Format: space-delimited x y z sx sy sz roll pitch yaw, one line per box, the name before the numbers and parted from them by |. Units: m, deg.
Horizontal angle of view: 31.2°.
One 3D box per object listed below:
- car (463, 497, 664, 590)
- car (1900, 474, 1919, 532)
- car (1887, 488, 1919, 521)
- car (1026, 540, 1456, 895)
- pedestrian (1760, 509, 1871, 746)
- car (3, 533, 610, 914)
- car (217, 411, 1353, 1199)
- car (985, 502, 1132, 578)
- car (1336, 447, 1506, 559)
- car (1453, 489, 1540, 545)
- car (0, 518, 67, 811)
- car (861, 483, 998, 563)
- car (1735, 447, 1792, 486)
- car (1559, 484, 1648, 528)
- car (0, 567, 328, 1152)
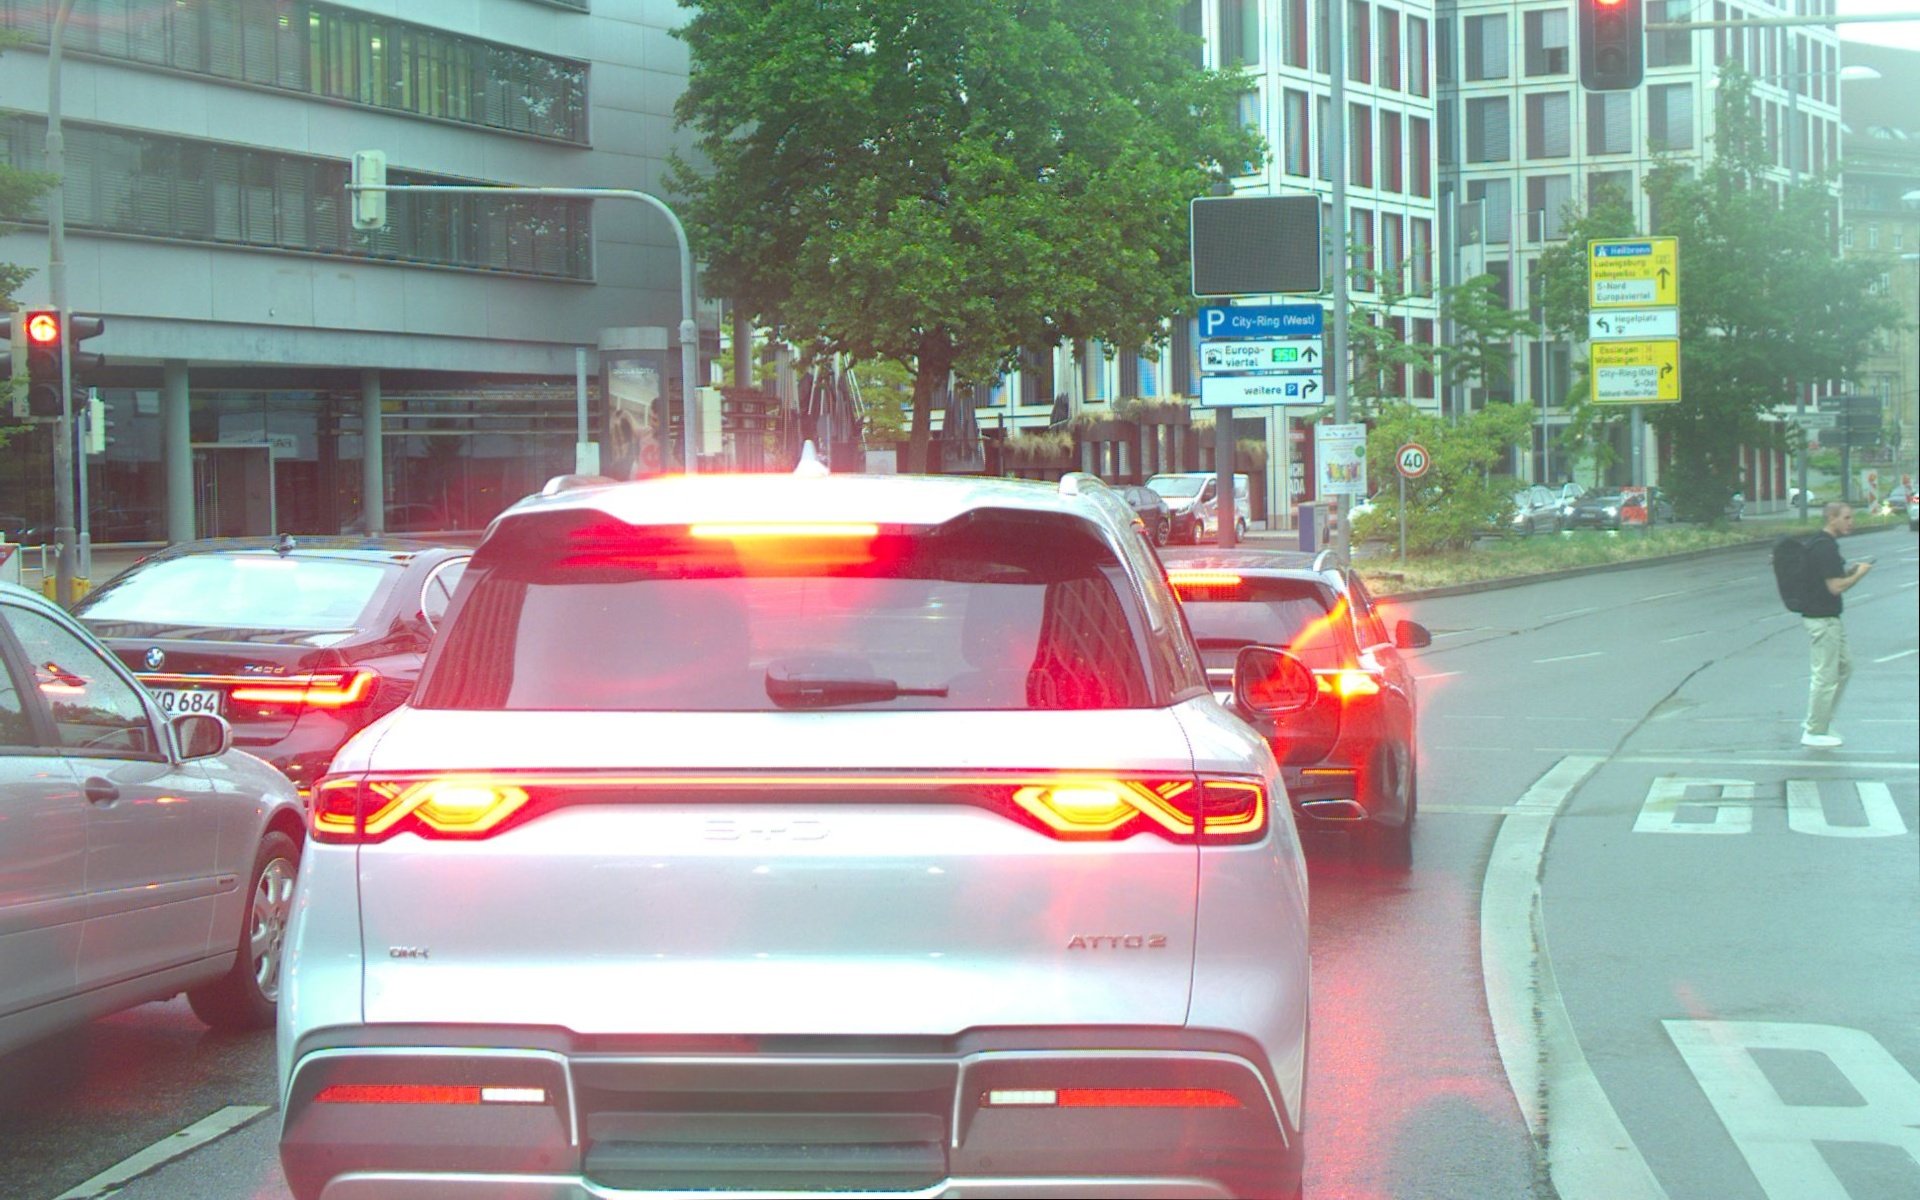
car | -7.062 -1.025 61.654 1.995 1.605 3.996 1 1 20
car | 27.844 -2.738 97.359 1.890 1.637 3.996 1 1 22
car | 44.959 -4.494 161.326 1.996 1.483 3.994 0 2 27
car | 1.475 0.478 16.642 1.694 1.481 3.998 1 1 10
pedestrian | 6.311 0.191 25.377 0.770 1.725 0.596 0 1 14
car | -2.790 0.466 15.561 1.571 1.481 3.999 1 1 6
car | -0.230 0.530 7.405 1.776 1.673 4.000 1 1 2
car | 1.906 -1.119 65.391 1.692 1.380 3.865 1 1 19
car | 8.779 -1.807 65.118 1.996 2.007 4.843 1 1 23
car | 15.671 -2.412 100.245 1.645 1.575 4.081 1 1 21
car | -5.875 0.324 16.280 1.707 1.481 3.998 1 1 9
car | -0.571 -1.534 68.442 1.645 1.530 4.149 1 1 16
car | 38.225 -6.345 163.555 1.609 1.735 3.439 1 1 32
car | 22.329 -3.278 119.191 1.996 1.483 3.994 0 2 27
car | -3.032 0.618 8.850 1.571 1.402 4.108 1 1 7
